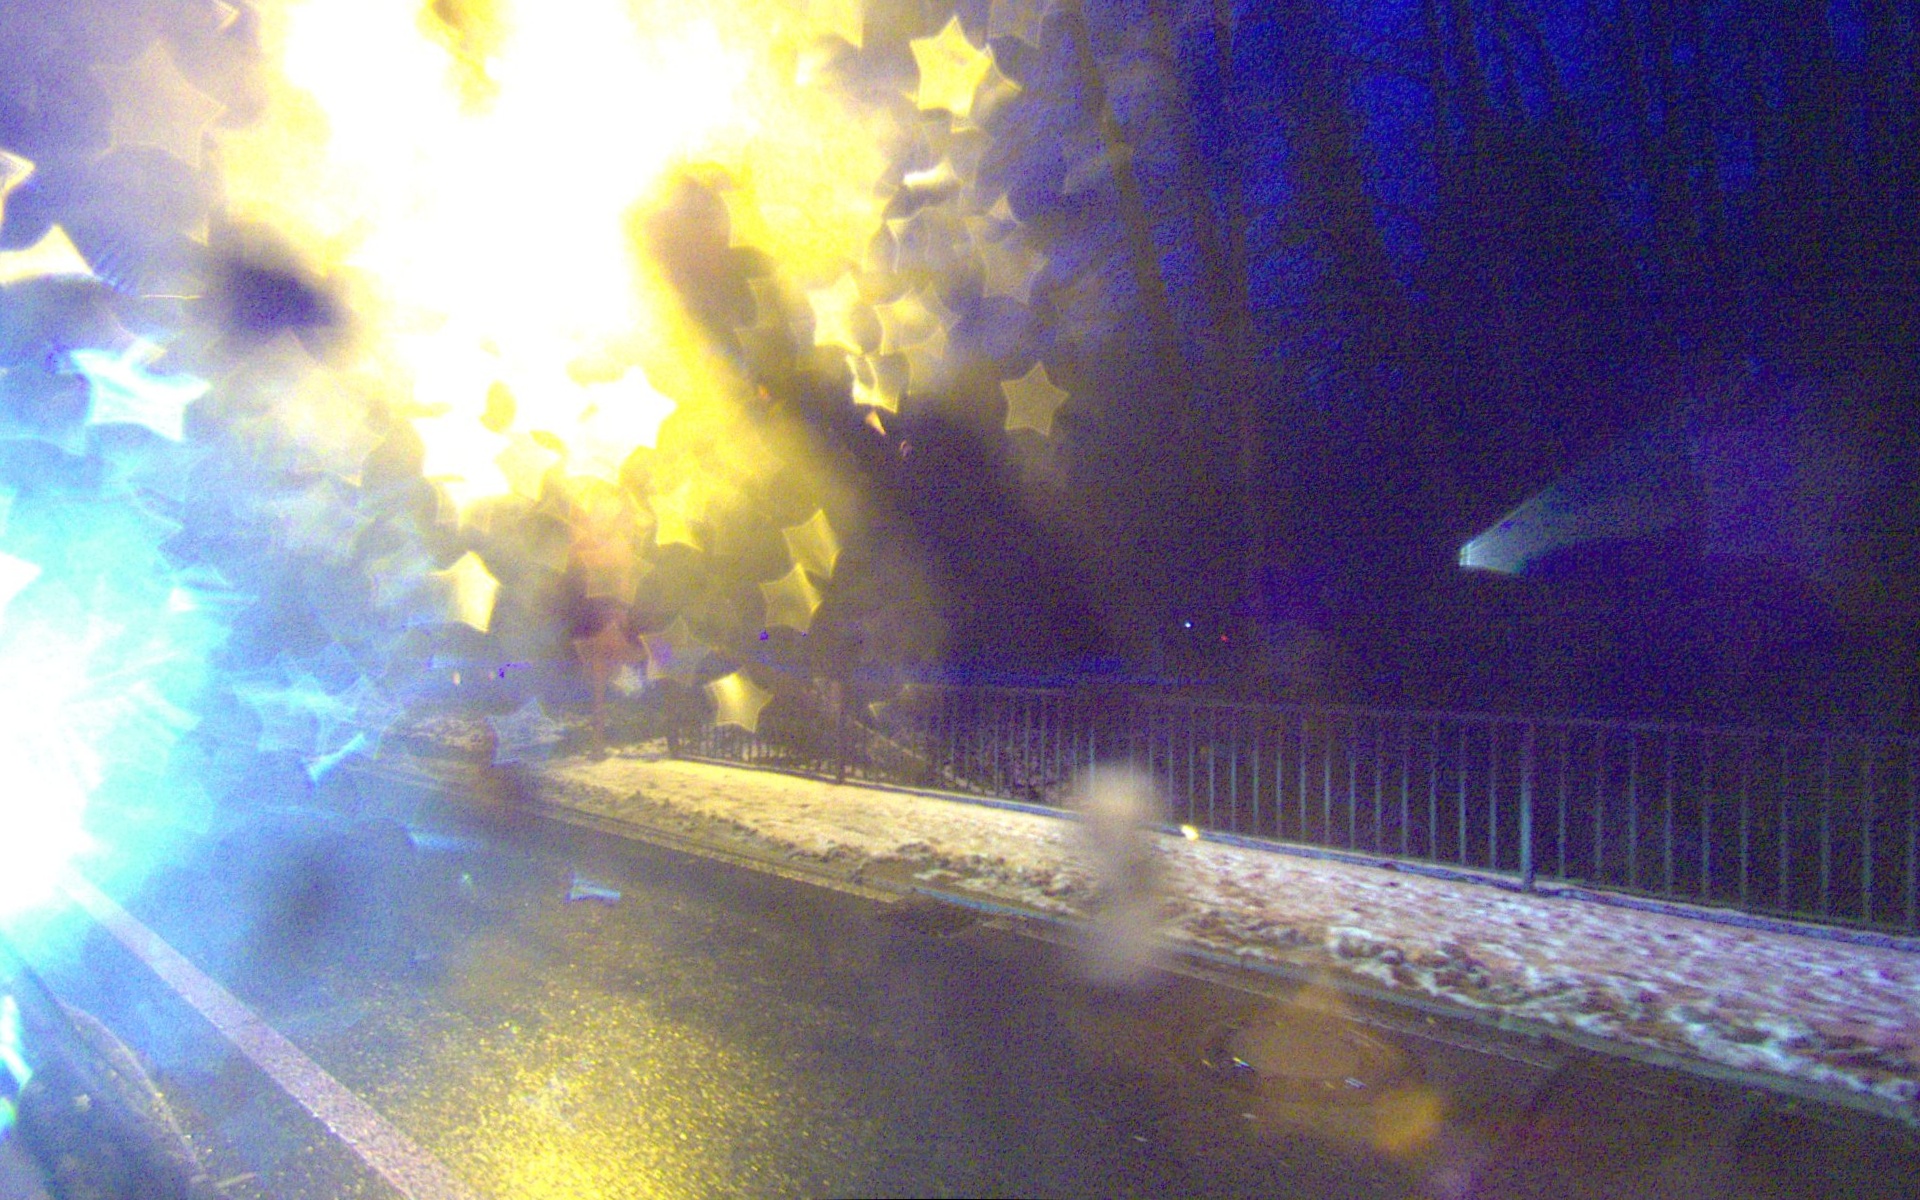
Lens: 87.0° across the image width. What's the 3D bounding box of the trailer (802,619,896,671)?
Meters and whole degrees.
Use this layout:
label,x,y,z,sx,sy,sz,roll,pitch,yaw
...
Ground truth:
label,x,y,z,sx,sy,sz,roll,pitch,yaw
trailer,-5.185,2.098,47.324,3.745,2.234,1.980,4,-2,-31
